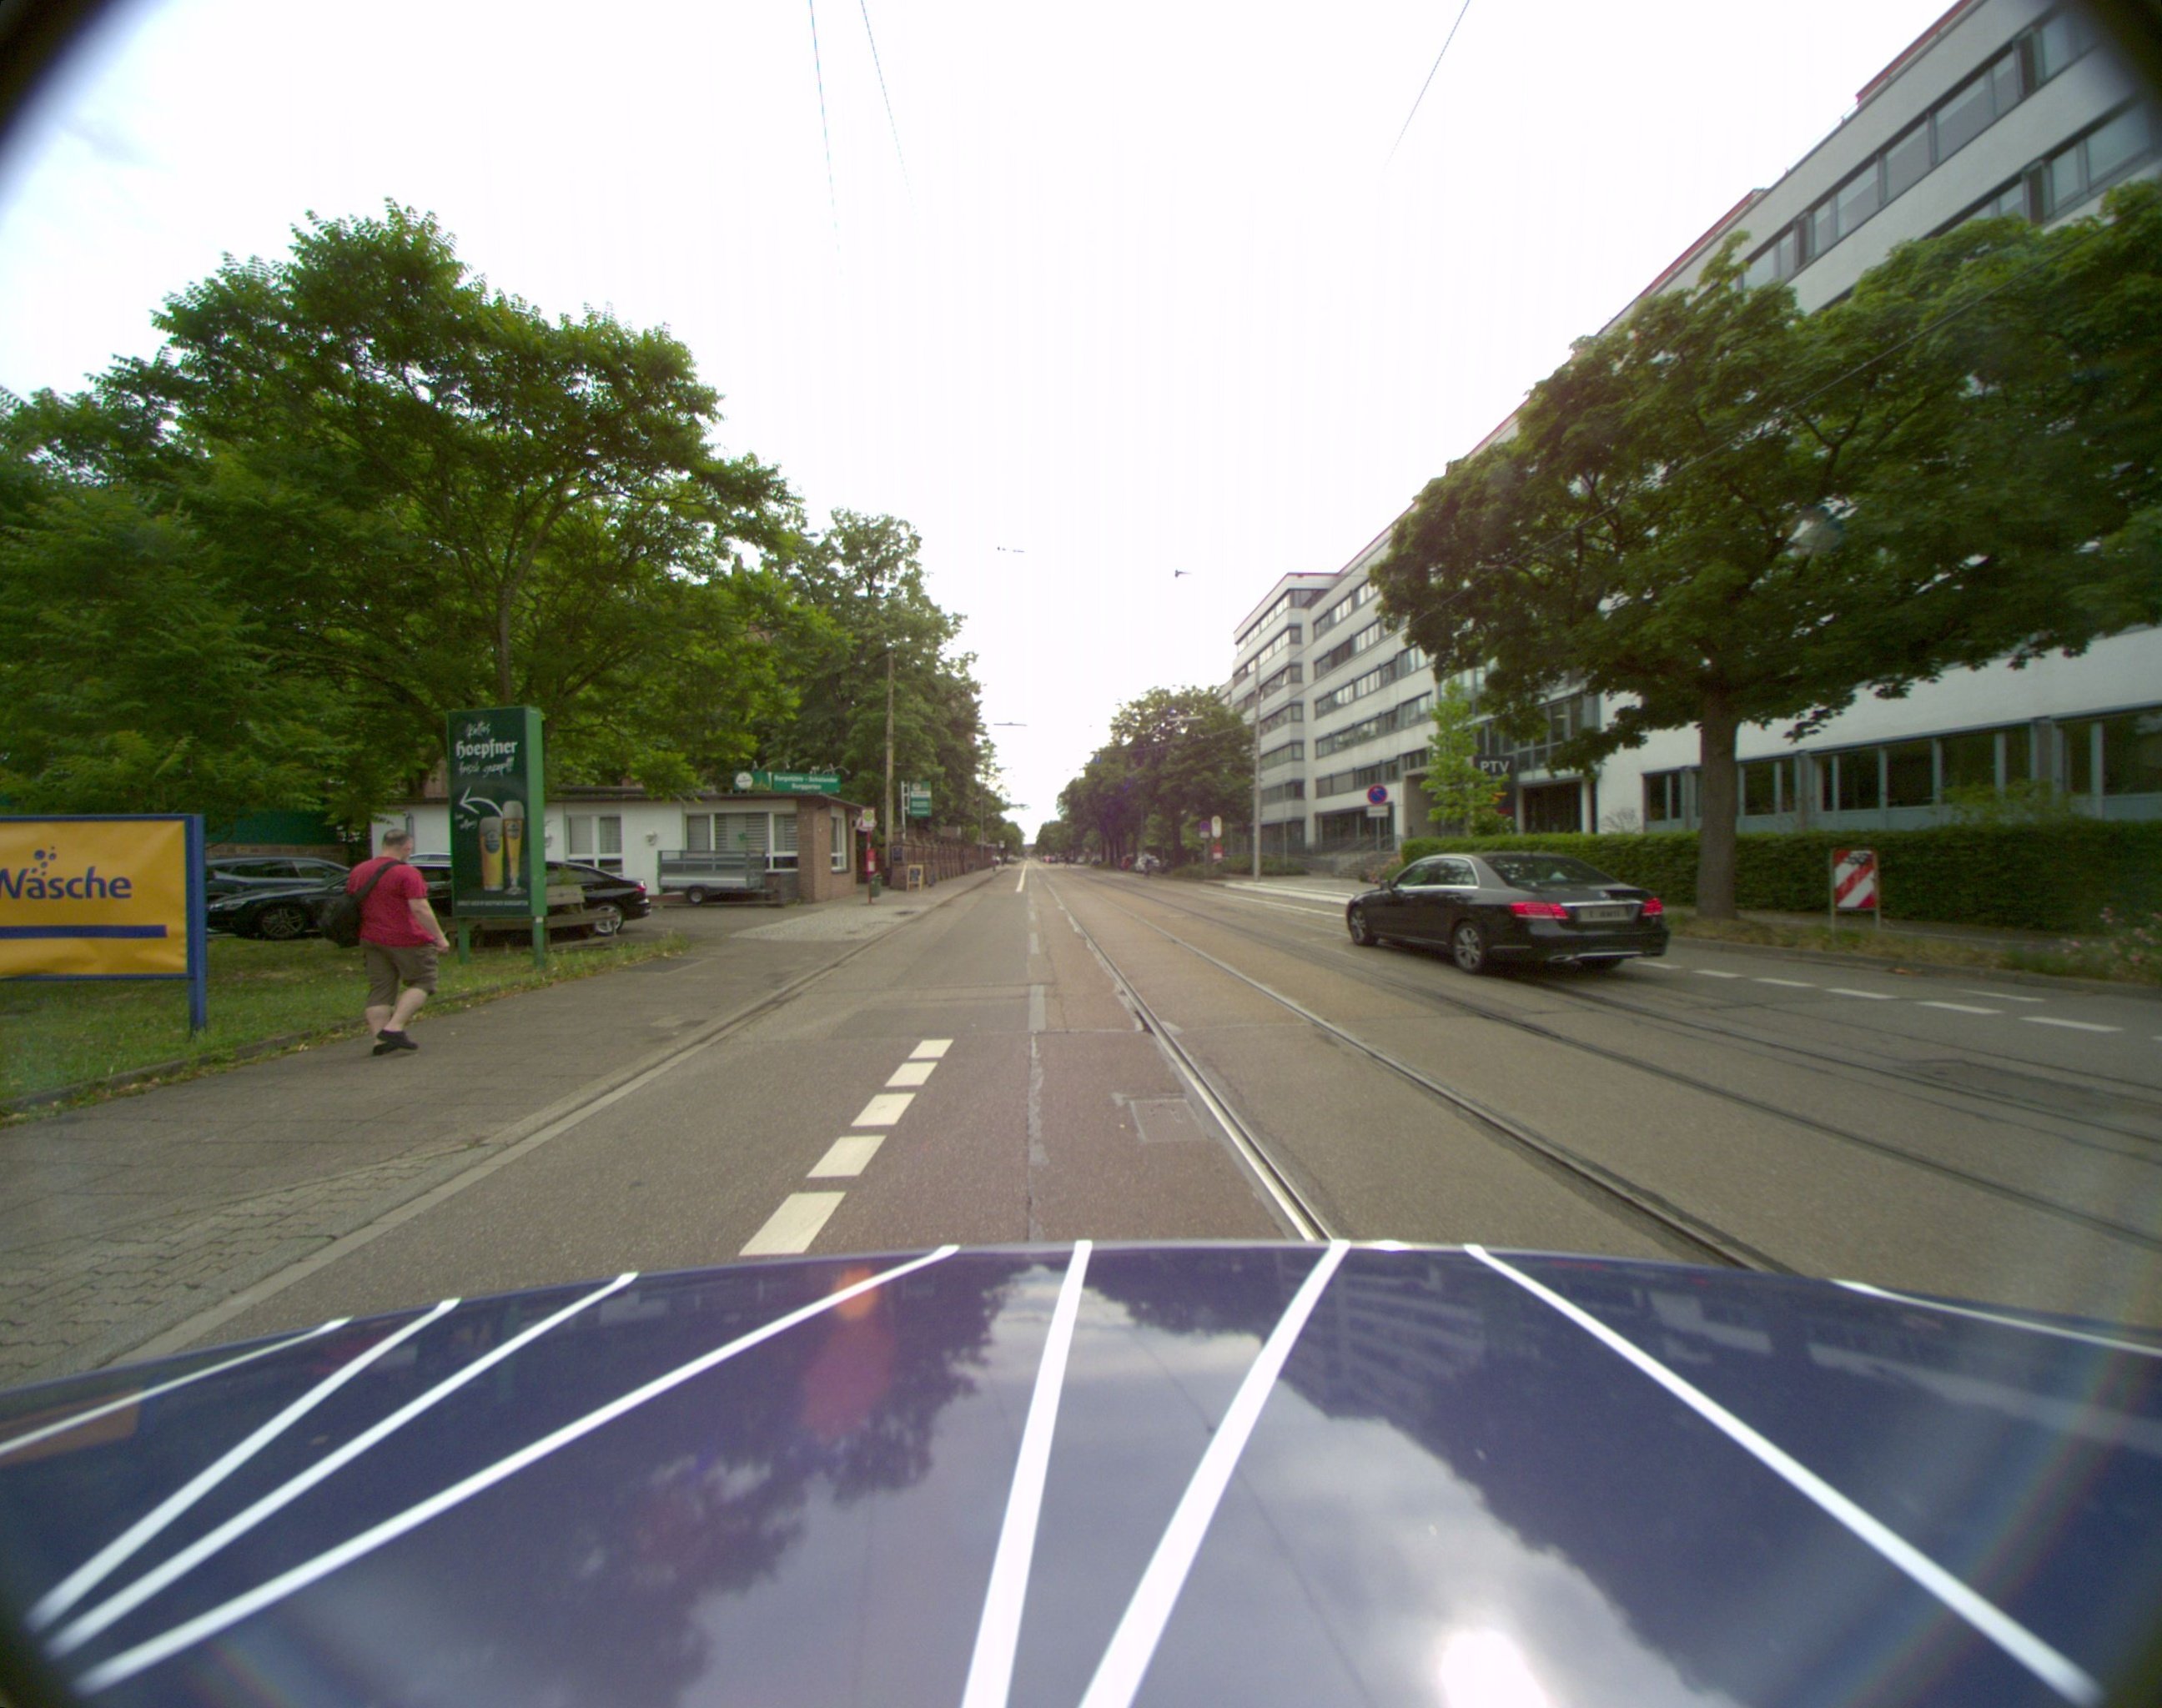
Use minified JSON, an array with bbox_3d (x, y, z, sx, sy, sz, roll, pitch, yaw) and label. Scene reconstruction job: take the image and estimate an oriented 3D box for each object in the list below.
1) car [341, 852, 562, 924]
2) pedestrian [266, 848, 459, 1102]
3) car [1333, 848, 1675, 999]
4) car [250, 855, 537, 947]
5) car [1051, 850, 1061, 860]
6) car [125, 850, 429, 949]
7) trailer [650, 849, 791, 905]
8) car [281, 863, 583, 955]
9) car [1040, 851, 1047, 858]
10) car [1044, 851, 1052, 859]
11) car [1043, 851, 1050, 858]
[{"bbox_3d":[-16.367,0.841,19.953,3.998,1.657,1.999,-2,1,-3],"label":"car"},{"bbox_3d":[-5.431,0.845,5.819,0.871,1.738,0.849,1,1,-29],"label":"pedestrian"},{"bbox_3d":[5.267,0.720,10.316,1.802,1.537,4.477,-2,1,-6],"label":"car"},{"bbox_3d":[-13.817,0.847,15.484,1.822,1.509,4.007,-1,1,37],"label":"car"},{"bbox_3d":[-5.315,0.125,163.584,1.998,2.002,4.000,-2,1,1],"label":"car"},{"bbox_3d":[-16.546,0.835,15.865,1.807,1.686,4.033,-1,1,33],"label":"car"},{"bbox_3d":[-10.497,0.654,22.337,3.291,1.523,1.773,0,3,-3],"label":"trailer"},{"bbox_3d":[-11.454,0.877,13.874,1.998,1.281,4.000,-2,1,1],"label":"car"},{"bbox_3d":[-12.479,0.199,252.465,1.998,2.002,3.999,-2,1,0],"label":"car"},{"bbox_3d":[-8.624,0.314,199.028,1.999,2.002,3.999,-2,1,-2],"label":"car"},{"bbox_3d":[-9.813,0.182,215.771,1.999,2.002,3.999,-2,1,-2],"label":"car"}]
